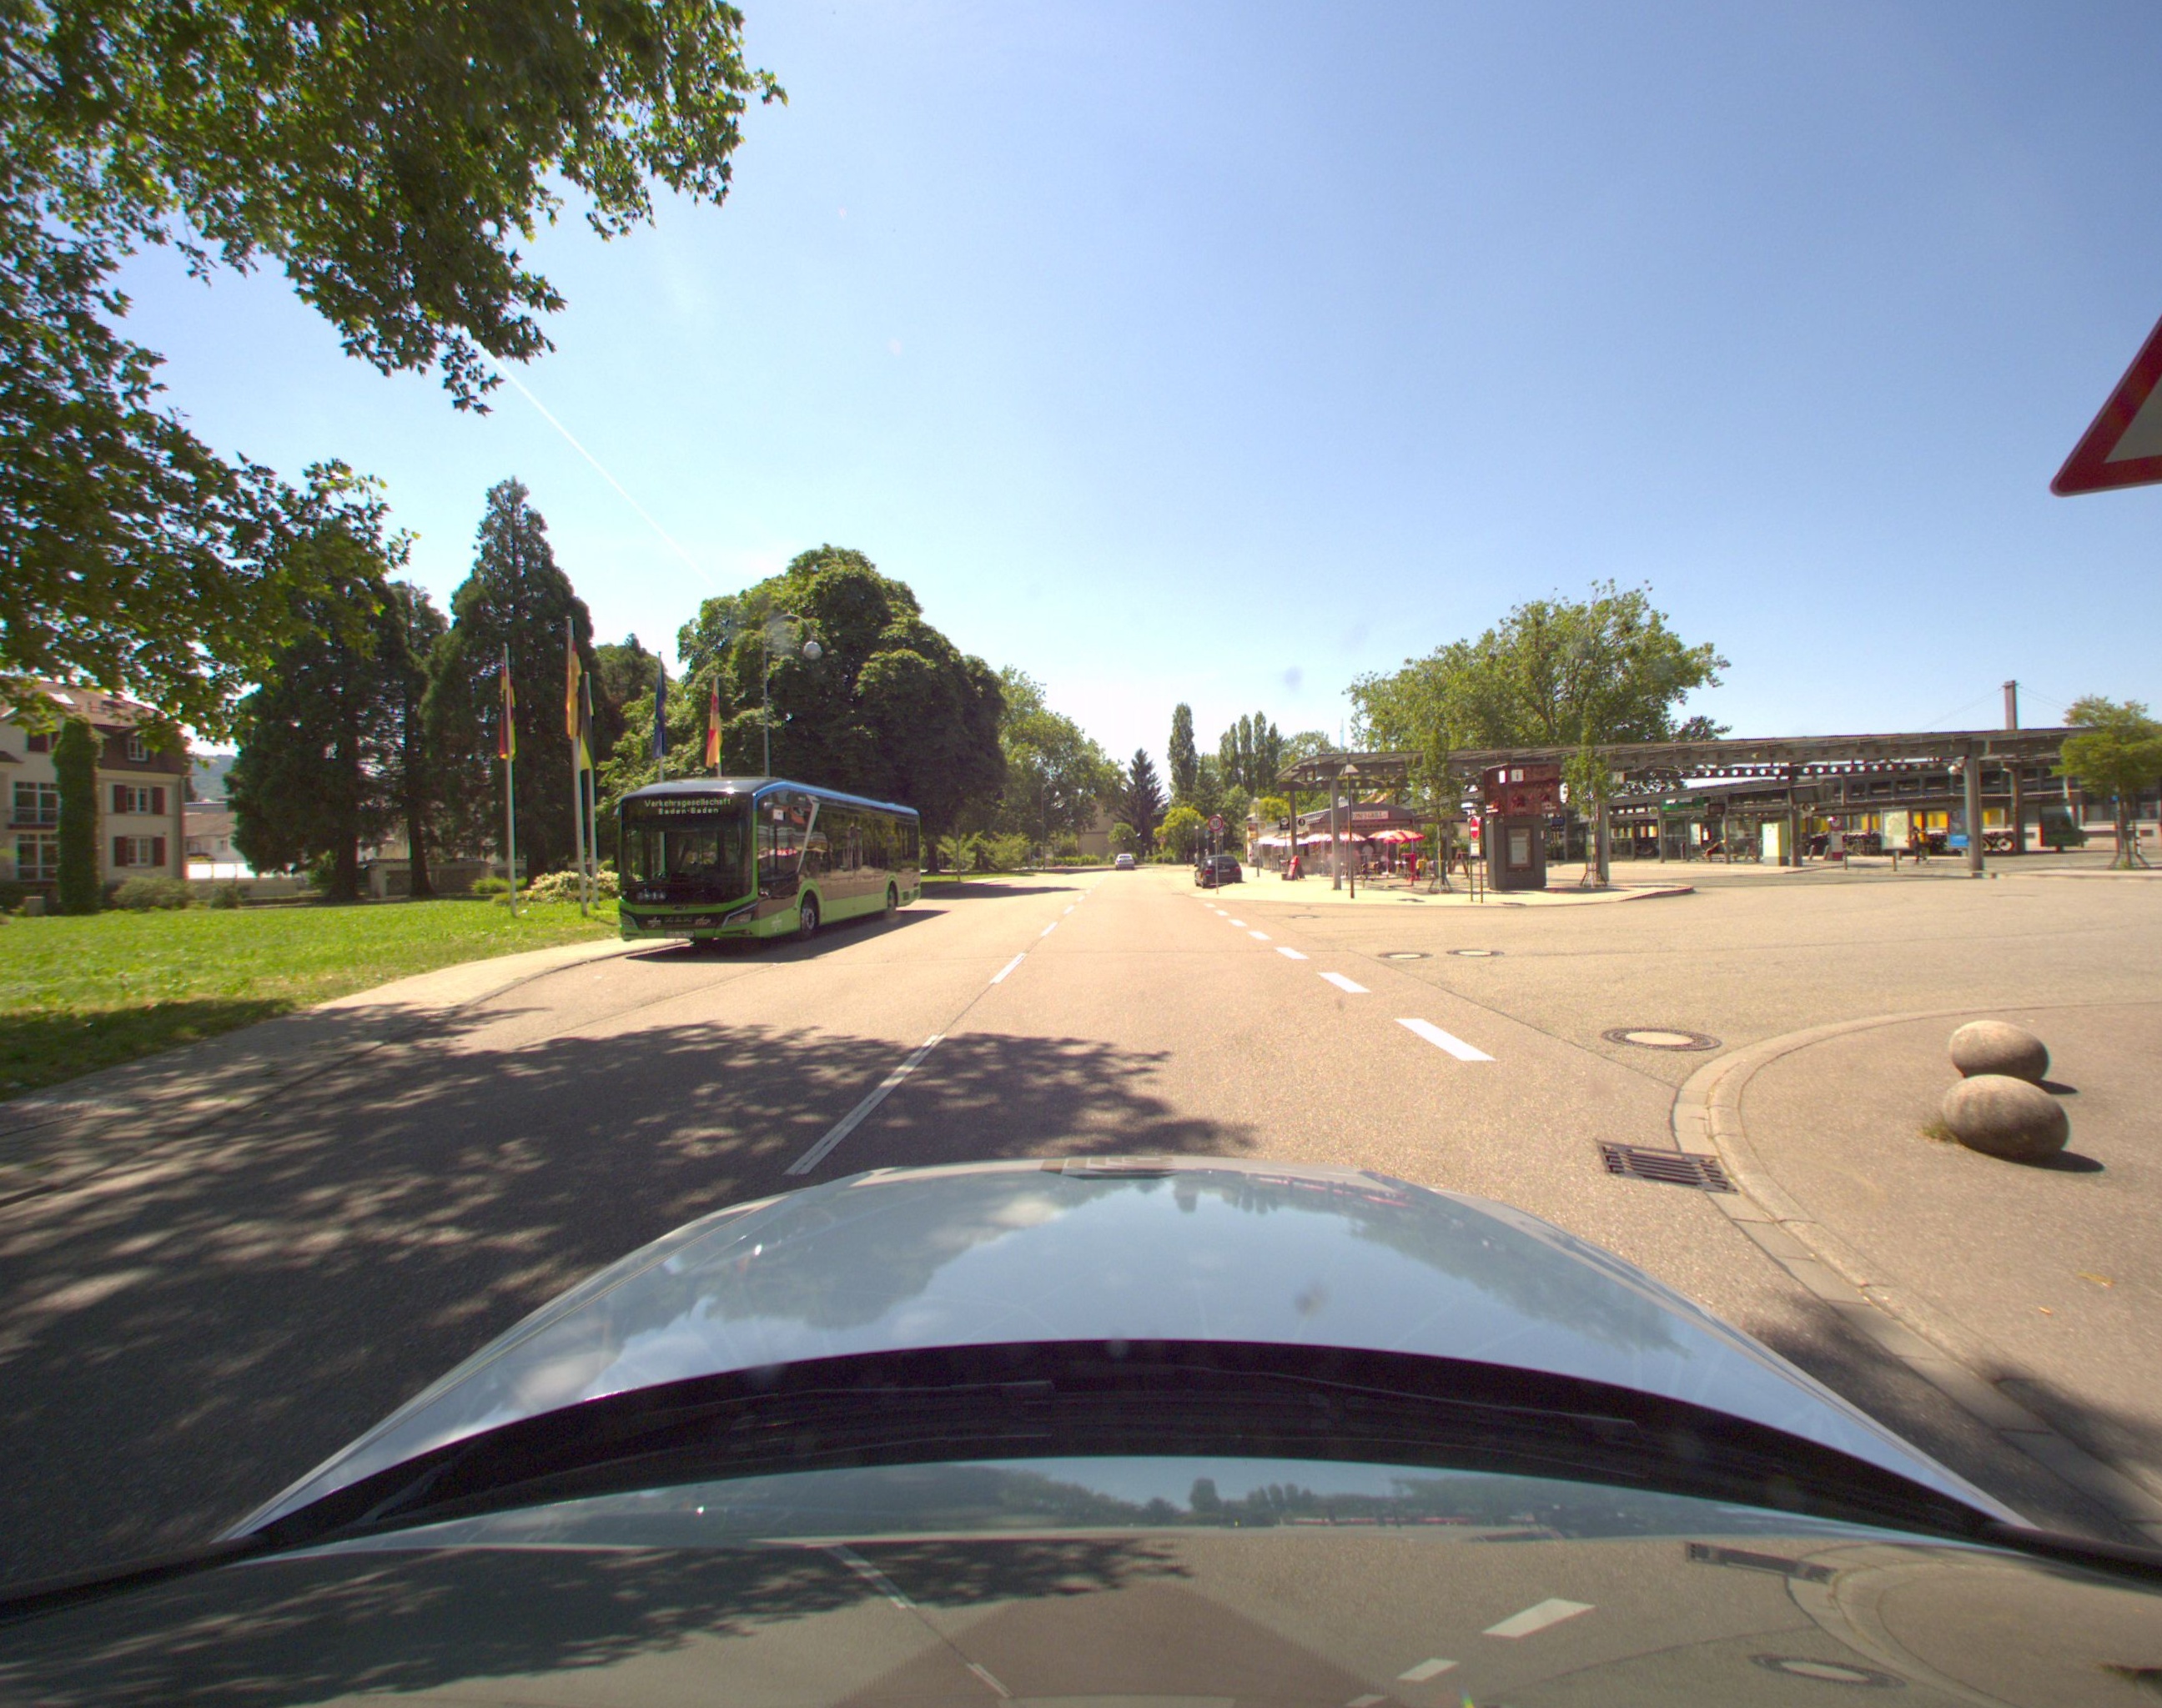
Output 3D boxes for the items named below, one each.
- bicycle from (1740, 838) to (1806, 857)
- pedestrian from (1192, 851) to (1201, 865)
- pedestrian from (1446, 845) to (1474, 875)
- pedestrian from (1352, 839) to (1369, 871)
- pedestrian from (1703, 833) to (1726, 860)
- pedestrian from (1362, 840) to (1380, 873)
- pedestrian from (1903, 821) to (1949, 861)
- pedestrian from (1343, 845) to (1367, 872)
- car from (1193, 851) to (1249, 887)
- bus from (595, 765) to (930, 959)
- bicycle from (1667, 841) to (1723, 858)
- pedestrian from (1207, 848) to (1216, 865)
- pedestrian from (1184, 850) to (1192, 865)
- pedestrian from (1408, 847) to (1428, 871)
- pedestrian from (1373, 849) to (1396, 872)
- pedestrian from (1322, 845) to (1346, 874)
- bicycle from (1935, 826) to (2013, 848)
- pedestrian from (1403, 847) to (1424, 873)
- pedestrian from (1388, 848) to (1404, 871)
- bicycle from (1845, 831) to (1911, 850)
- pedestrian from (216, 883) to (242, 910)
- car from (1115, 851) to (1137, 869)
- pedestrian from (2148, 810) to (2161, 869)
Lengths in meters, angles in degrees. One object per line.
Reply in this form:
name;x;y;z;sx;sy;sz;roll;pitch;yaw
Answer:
bicycle;36.684;-0.341;43.186;2.777;1.004;0.811;0;-1;0
pedestrian;13.399;0.454;94.617;0.713;1.649;0.755;-2;-3;31
pedestrian;16.504;0.271;35.520;0.841;1.277;0.897;-2;0;7
pedestrian;15.442;0.059;44.957;0.683;1.738;0.708;-2;-1;3
pedestrian;33.963;-0.384;43.660;0.622;1.395;0.677;-3;-1;2
pedestrian;15.450;0.123;43.445;0.683;1.738;0.708;-1;-1;3
pedestrian;34.197;-0.528;32.959;0.920;1.590;0.856;-2;0;-3
pedestrian;14.017;0.238;41.656;0.898;1.312;0.681;-1;0;-32
car;6.494;0.664;38.300;1.919;1.460;4.728;-4;0;2
bus;-6.690;0.125;20.331;2.797;3.283;12.434;-2;0;3
bicycle;36.991;-0.263;49.083;2.777;1.004;0.811;0;-1;0
pedestrian;15.734;0.288;98.202;0.852;1.965;0.805;-2;0;-3
pedestrian;12.193;0.443;93.031;0.629;1.649;0.755;-2;-3;31
pedestrian;17.014;0.237;41.141;0.756;1.205;0.738;0;-1;3
pedestrian;15.469;0.322;41.494;0.898;1.161;0.681;-1;0;-32
pedestrian;12.484;0.266;40.127;0.898;1.418;0.681;-1;0;-35
bicycle;44.138;-0.836;40.272;2.777;1.004;0.967;0;-1;0
pedestrian;15.285;0.292;37.471;0.682;1.161;0.897;-2;0;7
pedestrian;16.756;0.284;43.353;0.652;1.205;0.592;0;-1;2
bicycle;44.787;-0.759;45.803;2.777;1.004;0.967;0;-1;0
pedestrian;-45.515;2.267;43.514;0.831;1.371;0.611;1;-1;-37
car;4.633;0.587;83.114;1.972;1.627;4.786;-2;0;6
pedestrian;33.394;-0.457;24.904;0.682;1.809;0.635;-2;0;24
